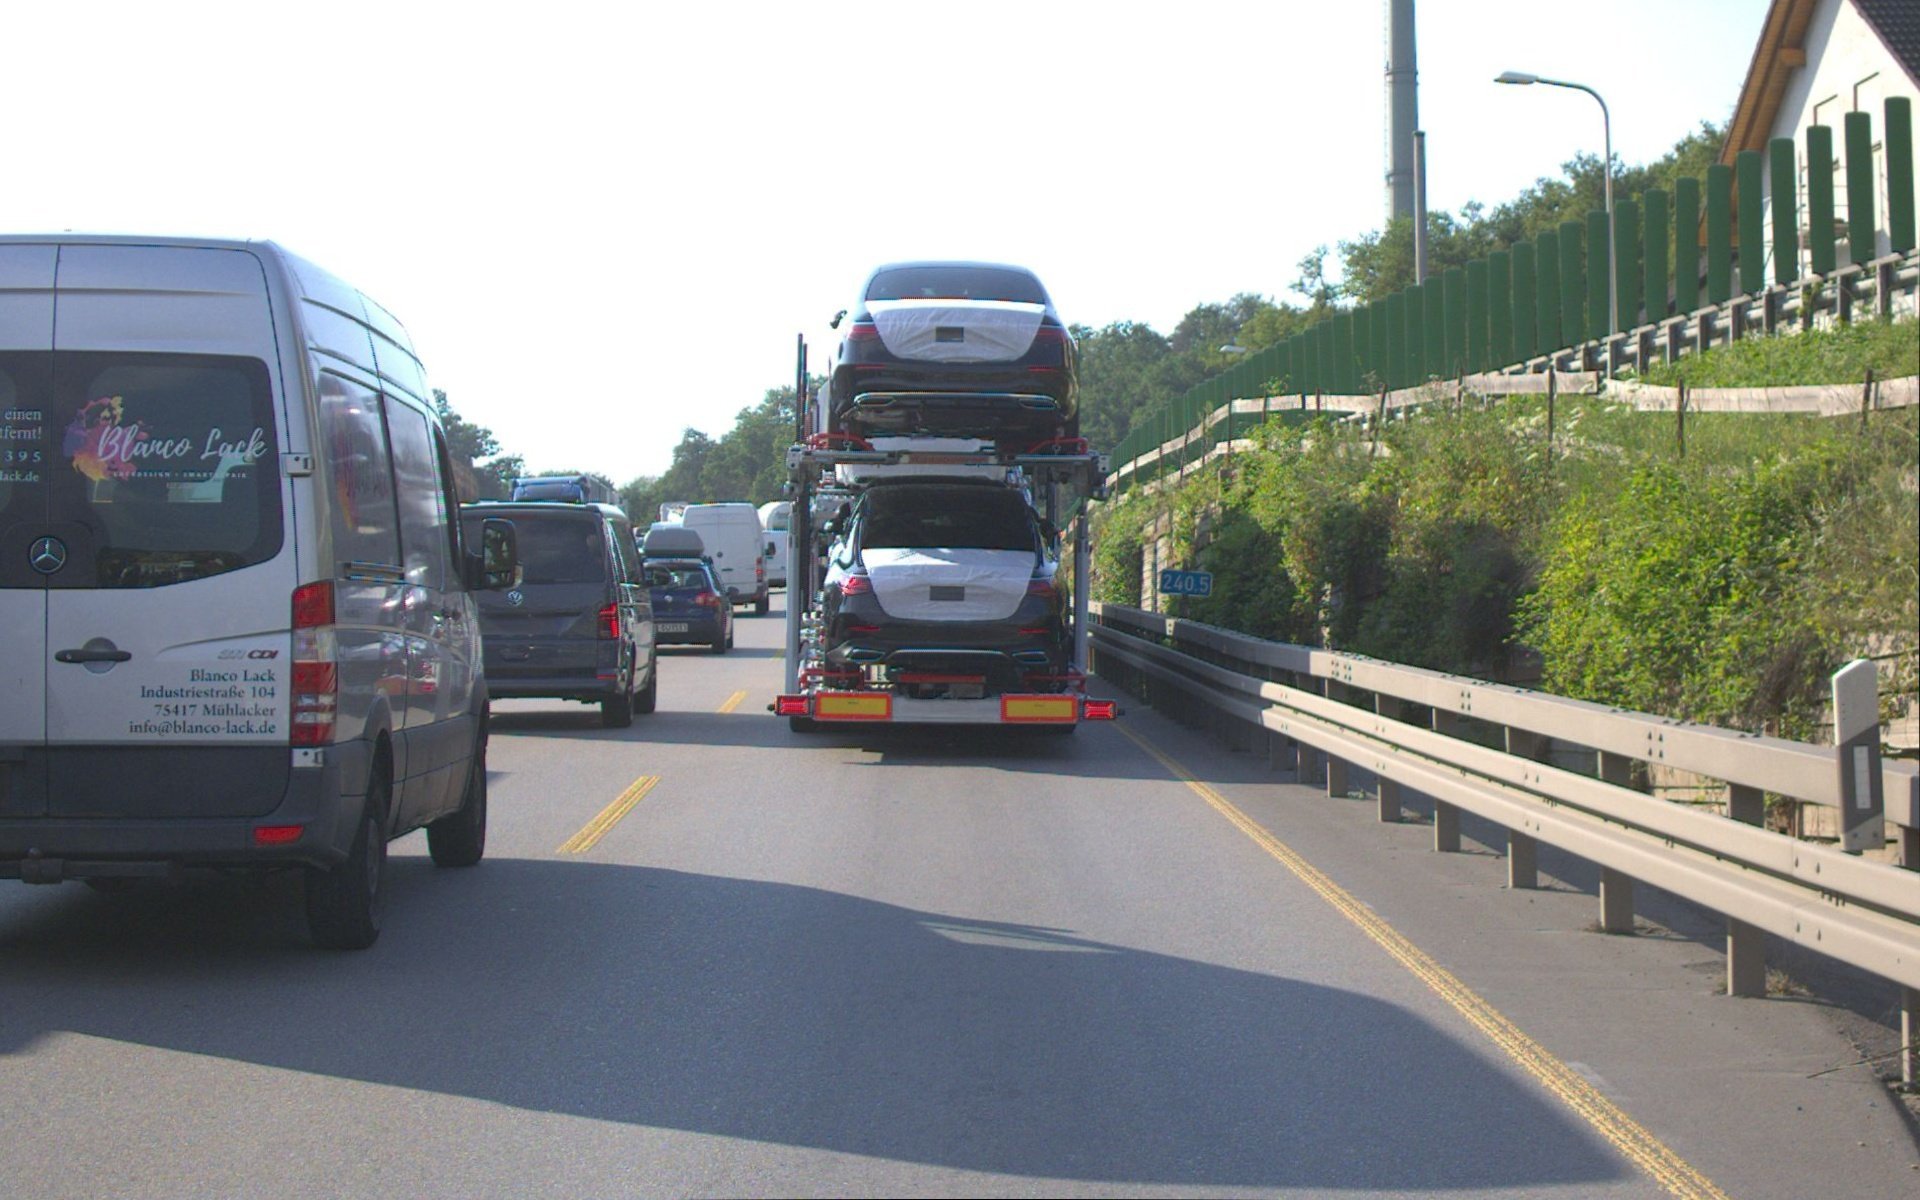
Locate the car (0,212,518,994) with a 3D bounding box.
[{"bbox_3d":[-3.184,-0.030,14.402,1.993,2.639,5.531,-1,1,-1],"label":"car"}]

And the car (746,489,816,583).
[{"bbox_3d":[-9.979,-3.533,190.659,3.444,5.018,9.655,1,1,-5],"label":"car"}]

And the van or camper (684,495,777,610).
[{"bbox_3d":[-5.345,-1.075,80.491,1.968,2.583,5.042,1,0,-2],"label":"van or camper"}]

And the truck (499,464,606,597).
[{"bbox_3d":[-13.384,-2.286,113.534,2.624,4.098,9.629,-3,1,-3],"label":"truck"}]

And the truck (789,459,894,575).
[{"bbox_3d":[-4.845,-3.401,143.340,4.065,4.663,10.592,0,1,0],"label":"truck"}]

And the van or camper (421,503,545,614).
[{"bbox_3d":[-12.118,-1.061,87.805,2.312,2.653,6.455,-2,1,-1],"label":"van or camper"}]

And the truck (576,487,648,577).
[{"bbox_3d":[-16.724,-3.213,166.015,2.982,4.139,15.858,1,1,-4],"label":"truck"}]

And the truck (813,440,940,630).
[{"bbox_3d":[-2.173,-1.628,87.033,2.907,4.591,7.287,0,1,-4],"label":"truck"}]

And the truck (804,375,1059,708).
[{"bbox_3d":[-0.337,-0.633,40.260,2.682,3.523,7.194,1,0,-1],"label":"truck"}]

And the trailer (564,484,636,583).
[{"bbox_3d":[-15.341,-2.878,147.256,2.709,4.078,12.571,0,1,-4],"label":"trailer"}]

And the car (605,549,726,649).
[{"bbox_3d":[-4.692,-0.049,55.183,1.725,1.517,3.974,1,1,-2],"label":"car"}]

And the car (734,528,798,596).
[{"bbox_3d":[-6.173,-1.215,109.714,1.885,2.093,3.766,1,1,-1],"label":"car"}]

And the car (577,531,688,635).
[{"bbox_3d":[-8.112,-0.430,85.457,2.471,2.525,4.000,0,0,-1],"label":"car"}]

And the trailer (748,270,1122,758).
[{"bbox_3d":[-0.252,-0.641,32.690,2.682,3.523,15.289,1,0,-1],"label":"trailer"}]

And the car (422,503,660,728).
[{"bbox_3d":[-3.751,0.147,31.330,1.808,1.897,4.000,1,0,-2],"label":"car"}]
